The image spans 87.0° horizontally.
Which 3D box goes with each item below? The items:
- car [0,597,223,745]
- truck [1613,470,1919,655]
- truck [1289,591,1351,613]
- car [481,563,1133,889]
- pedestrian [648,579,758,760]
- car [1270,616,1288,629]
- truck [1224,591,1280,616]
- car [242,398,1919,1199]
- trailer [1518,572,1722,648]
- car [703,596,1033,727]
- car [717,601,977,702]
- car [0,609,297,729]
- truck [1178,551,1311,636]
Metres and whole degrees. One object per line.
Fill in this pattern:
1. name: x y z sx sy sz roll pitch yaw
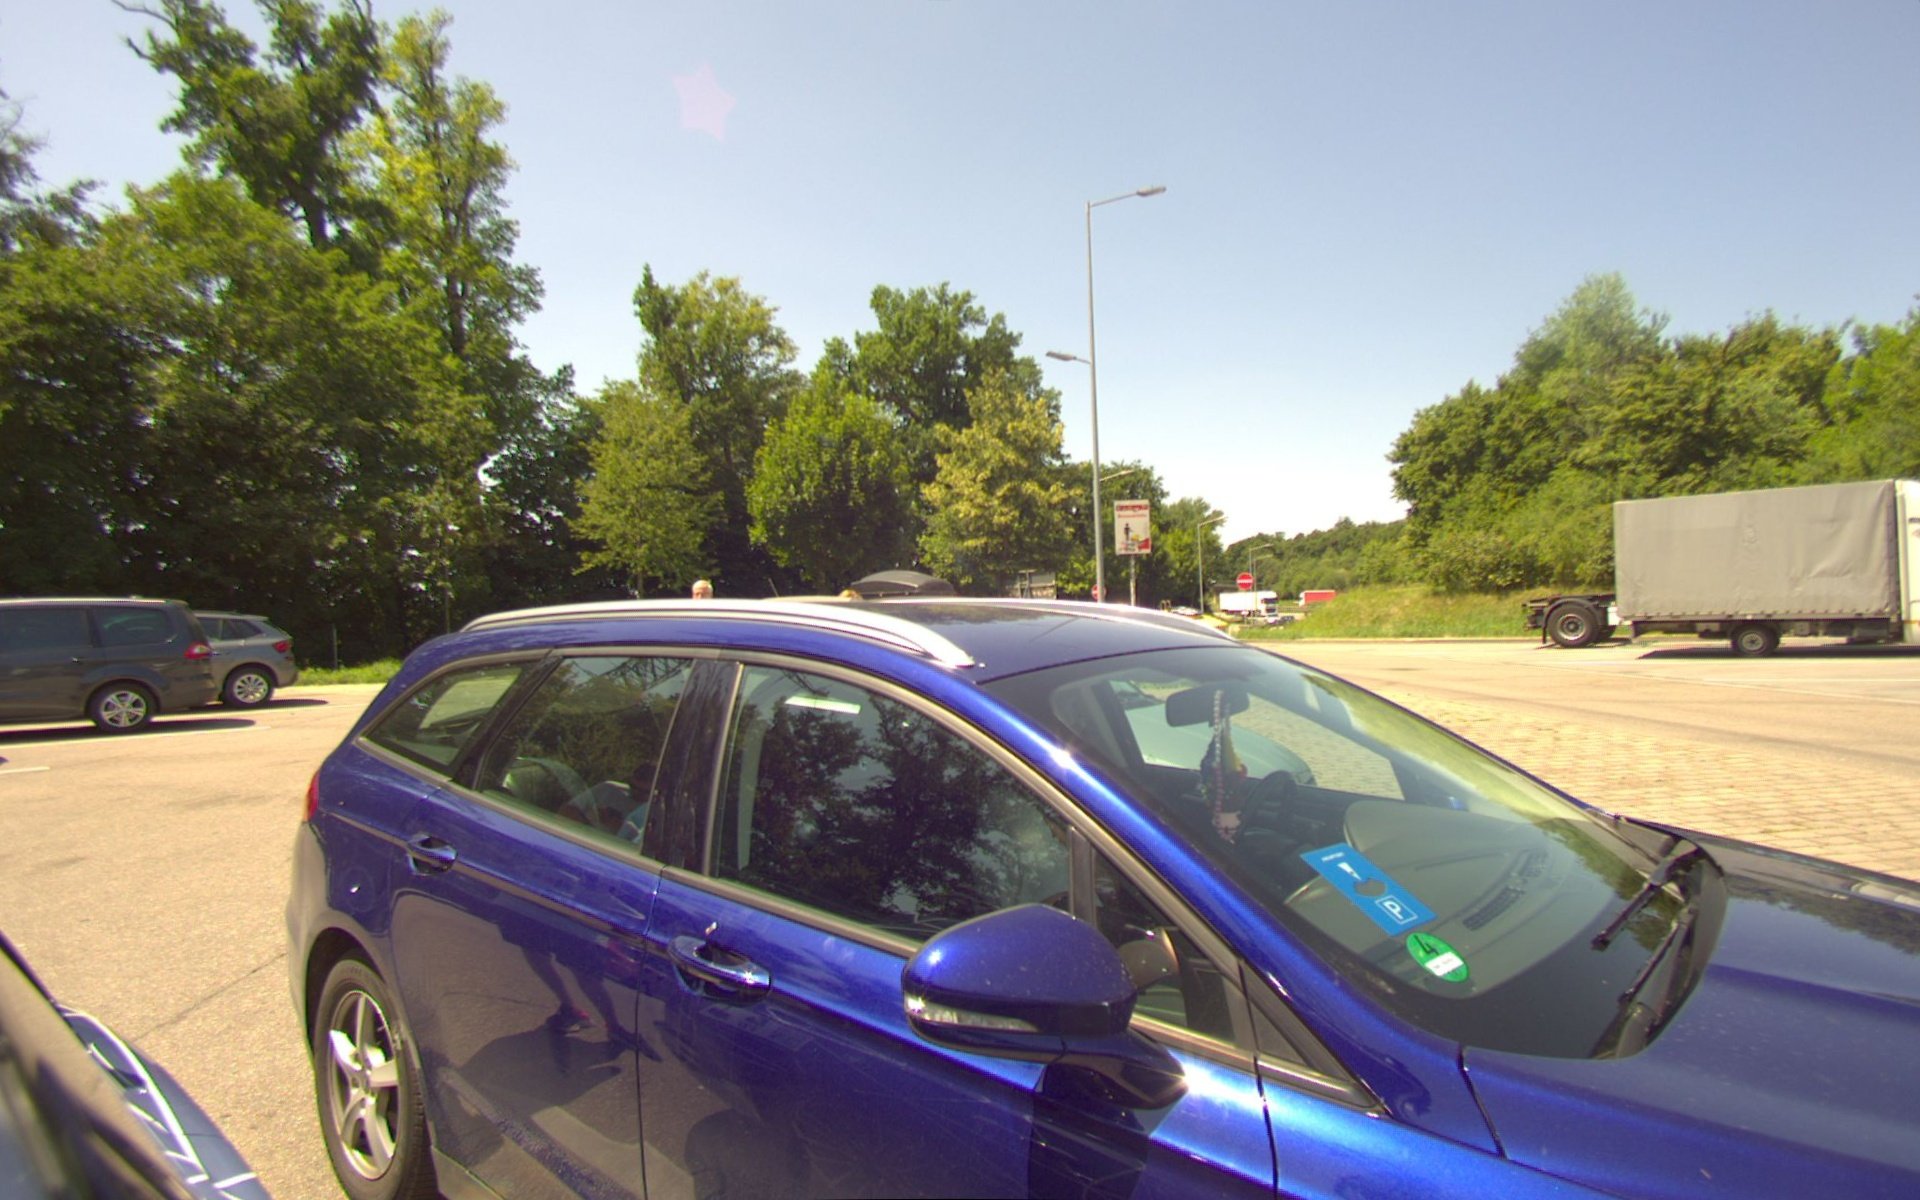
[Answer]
1. car: -11.677 0.858 12.560 3.910 1.701 1.782 -1 -1 -43
2. truck: 16.762 -0.638 18.860 7.348 3.152 2.339 -3 -2 41
3. truck: 70.166 0.398 197.859 3.213 3.859 15.644 -1 -1 -13
4. car: -1.263 0.641 6.720 4.466 1.476 1.756 -3 -1 40
5. pedestrian: -2.417 0.627 9.524 0.759 1.614 0.663 -3 -1 41
6. car: 40.135 2.809 127.437 1.982 1.530 3.980 -2 -1 15
7. truck: 47.928 0.711 166.600 2.851 3.859 15.627 -2 -1 -7
8. car: 0.245 0.638 2.105 4.466 1.476 1.756 -3 -1 40
9. trailer: 15.784 0.279 24.324 3.900 1.674 1.456 -3 -1 41
10. car: -1.355 0.765 13.536 4.466 1.476 1.756 -3 -1 40
11. car: -2.007 0.837 17.089 4.466 1.476 1.756 -3 -1 40
12. car: -12.706 0.984 15.611 3.910 1.598 1.782 -1 -1 -43
13. truck: 13.339 -0.241 47.423 5.782 3.720 1.987 -2 -1 20
